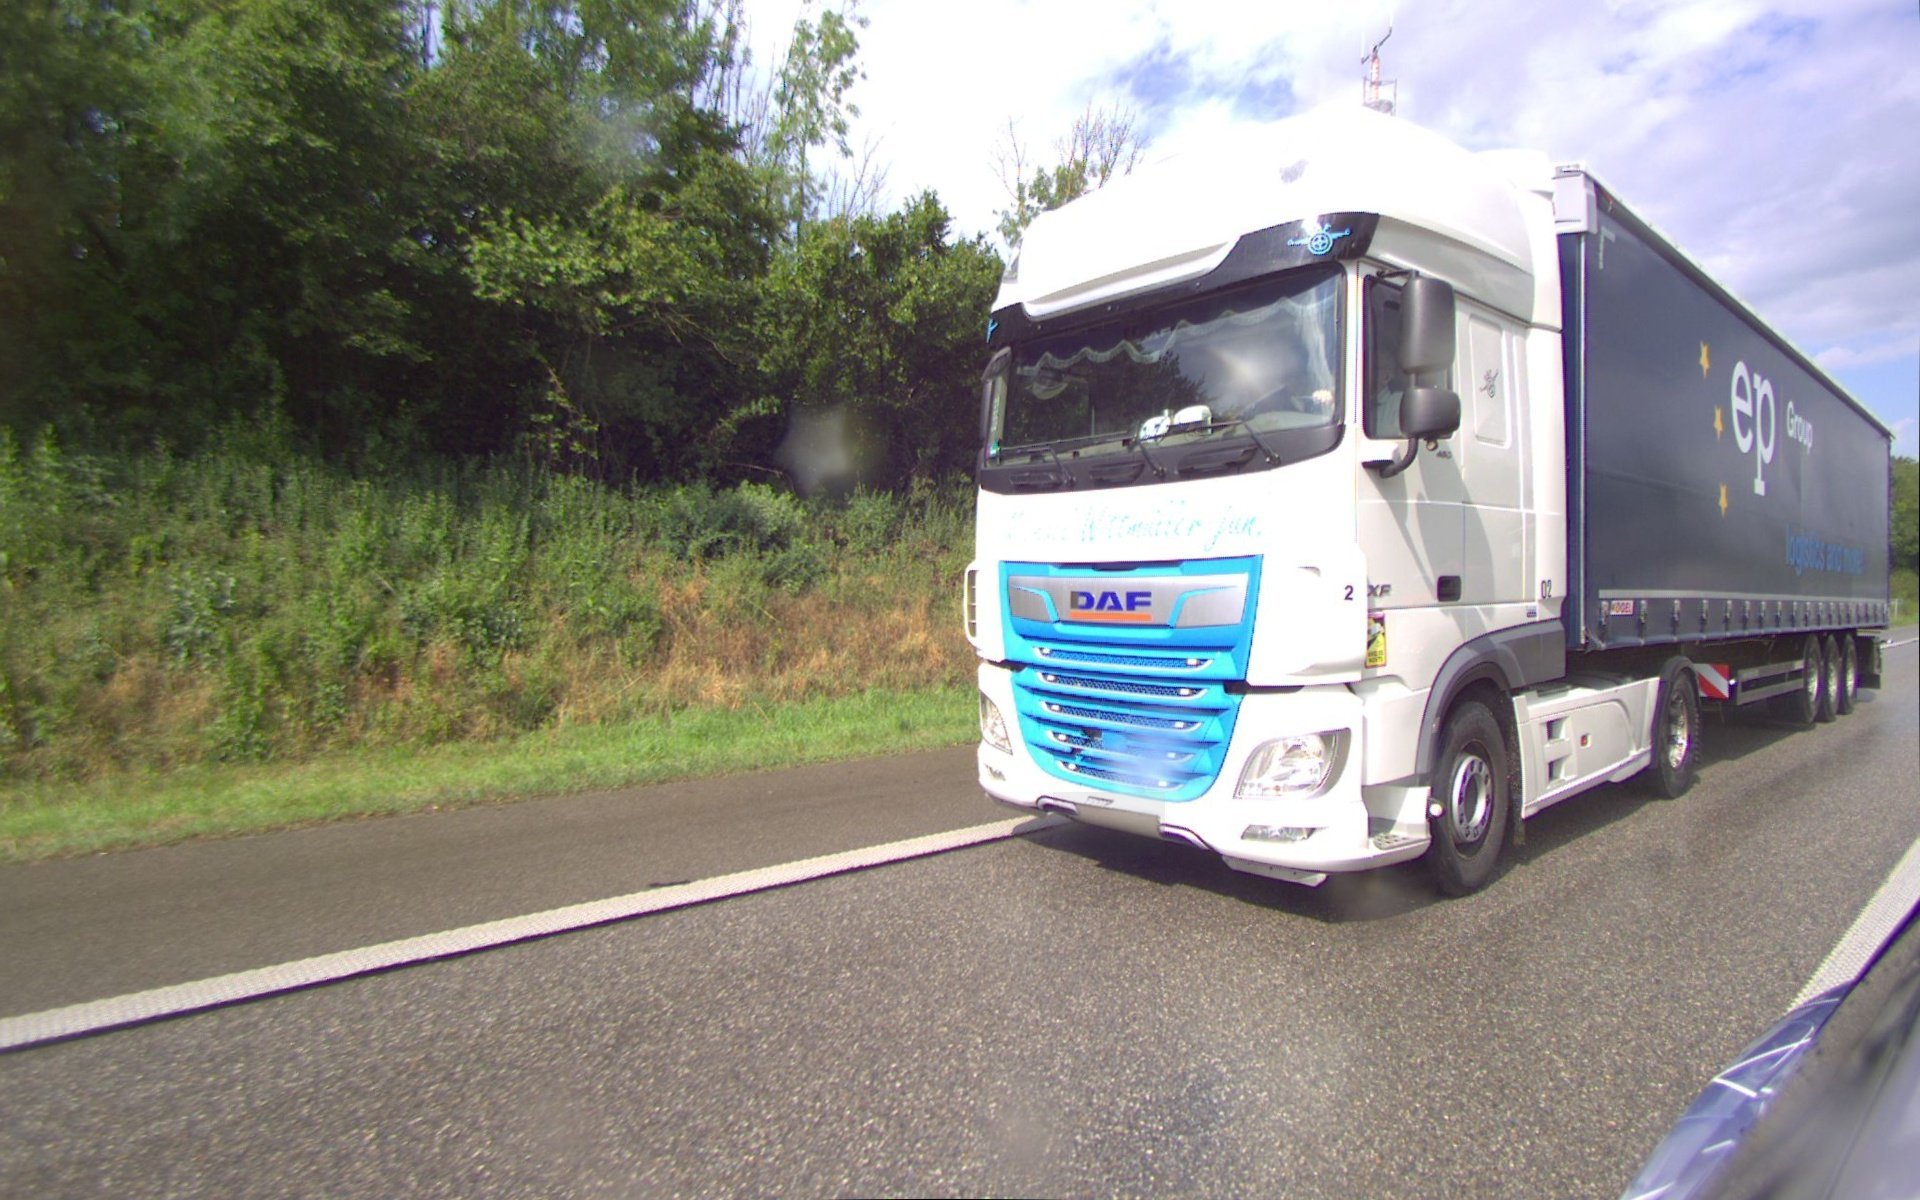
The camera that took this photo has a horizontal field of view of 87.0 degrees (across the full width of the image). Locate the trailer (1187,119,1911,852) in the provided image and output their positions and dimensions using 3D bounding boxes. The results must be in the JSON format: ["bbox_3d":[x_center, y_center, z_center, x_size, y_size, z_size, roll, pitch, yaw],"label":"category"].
[{"bbox_3d":[7.761,-0.694,11.154,13.820,4.046,2.638,-1,0,-41],"label":"trailer"}]

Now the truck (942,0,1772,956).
[{"bbox_3d":[3.438,-0.660,7.333,7.163,4.046,2.611,0,0,-41],"label":"truck"}]
